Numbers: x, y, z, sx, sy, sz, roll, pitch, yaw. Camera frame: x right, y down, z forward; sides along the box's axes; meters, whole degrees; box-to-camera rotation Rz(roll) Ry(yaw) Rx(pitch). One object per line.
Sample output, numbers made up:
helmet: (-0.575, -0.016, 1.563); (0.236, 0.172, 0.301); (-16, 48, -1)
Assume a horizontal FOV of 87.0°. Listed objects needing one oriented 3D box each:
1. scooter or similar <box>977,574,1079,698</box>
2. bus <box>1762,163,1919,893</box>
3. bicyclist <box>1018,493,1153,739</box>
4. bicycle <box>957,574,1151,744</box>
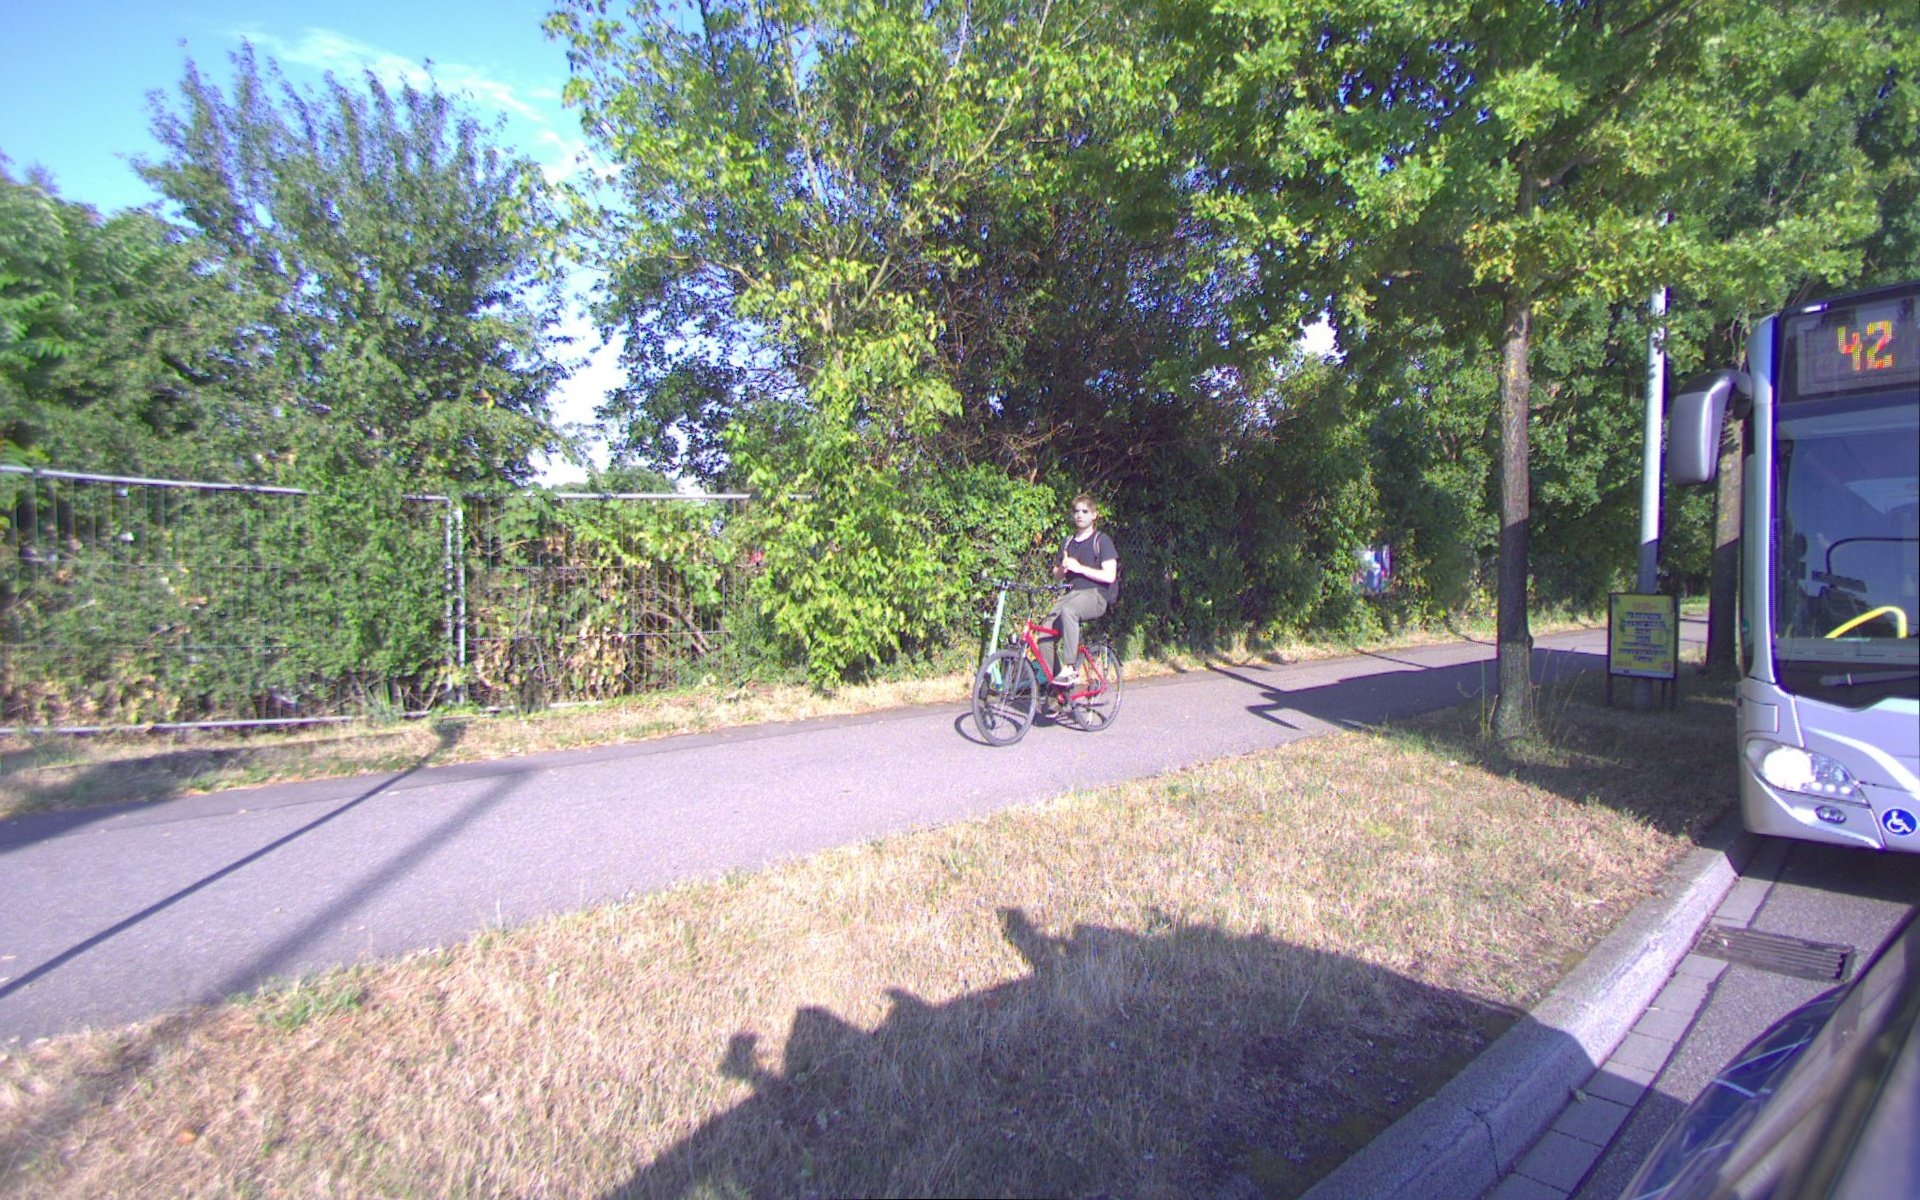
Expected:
scooter or similar: (0.677, 0.333, 9.888); (1.076, 1.139, 0.249); (0, 4, -41)
bus: (8.550, -0.342, 7.931); (2.588, 3.081, 11.536); (1, 1, 43)
bicyclist: (1.006, 0.097, 8.113); (0.815, 1.852, 0.620); (-1, 4, -41)
bicycle: (0.782, 0.409, 7.863); (0.415, 1.172, 1.861); (3, 2, 43)
